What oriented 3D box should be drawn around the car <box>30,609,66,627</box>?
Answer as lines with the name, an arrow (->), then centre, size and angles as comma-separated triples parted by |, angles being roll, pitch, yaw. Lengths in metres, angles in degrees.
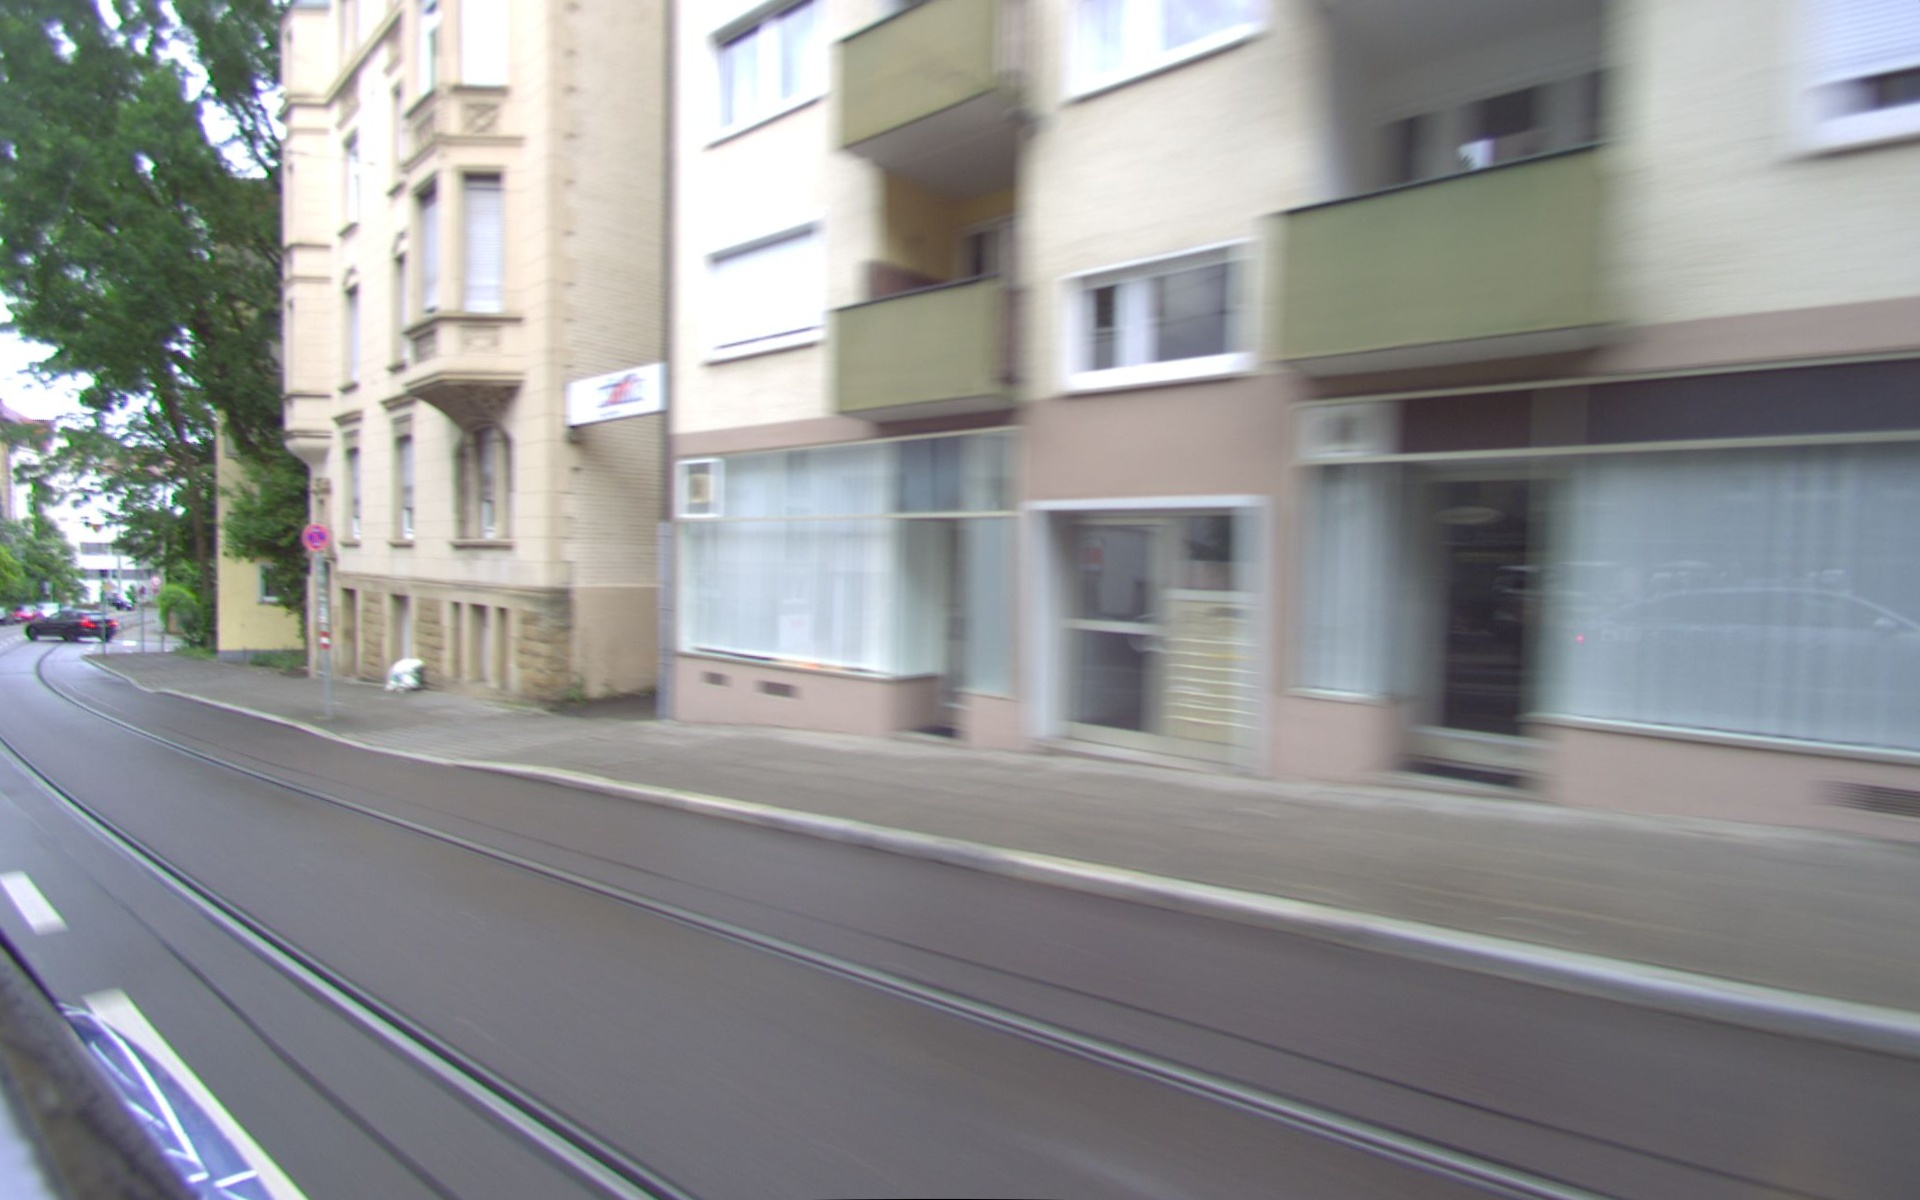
car -> -80.904, 1.608, 89.805 | 1.588, 1.453, 3.699 | -2, 2, -30

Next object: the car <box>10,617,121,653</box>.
car -> -47.228, 1.815, 53.450 | 4.725, 1.690, 2.062 | 1, 0, 14

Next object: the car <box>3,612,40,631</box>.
car -> -76.046, 1.712, 82.043 | 1.532, 1.378, 3.133 | -2, 2, -30

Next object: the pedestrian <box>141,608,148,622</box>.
pedestrian -> -101.997, 1.894, 126.571 | 0.640, 1.674, 0.651 | 0, -1, -40

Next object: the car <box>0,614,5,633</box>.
car -> -72.691, 1.789, 75.453 | 1.633, 1.378, 3.645 | -3, 2, -36
